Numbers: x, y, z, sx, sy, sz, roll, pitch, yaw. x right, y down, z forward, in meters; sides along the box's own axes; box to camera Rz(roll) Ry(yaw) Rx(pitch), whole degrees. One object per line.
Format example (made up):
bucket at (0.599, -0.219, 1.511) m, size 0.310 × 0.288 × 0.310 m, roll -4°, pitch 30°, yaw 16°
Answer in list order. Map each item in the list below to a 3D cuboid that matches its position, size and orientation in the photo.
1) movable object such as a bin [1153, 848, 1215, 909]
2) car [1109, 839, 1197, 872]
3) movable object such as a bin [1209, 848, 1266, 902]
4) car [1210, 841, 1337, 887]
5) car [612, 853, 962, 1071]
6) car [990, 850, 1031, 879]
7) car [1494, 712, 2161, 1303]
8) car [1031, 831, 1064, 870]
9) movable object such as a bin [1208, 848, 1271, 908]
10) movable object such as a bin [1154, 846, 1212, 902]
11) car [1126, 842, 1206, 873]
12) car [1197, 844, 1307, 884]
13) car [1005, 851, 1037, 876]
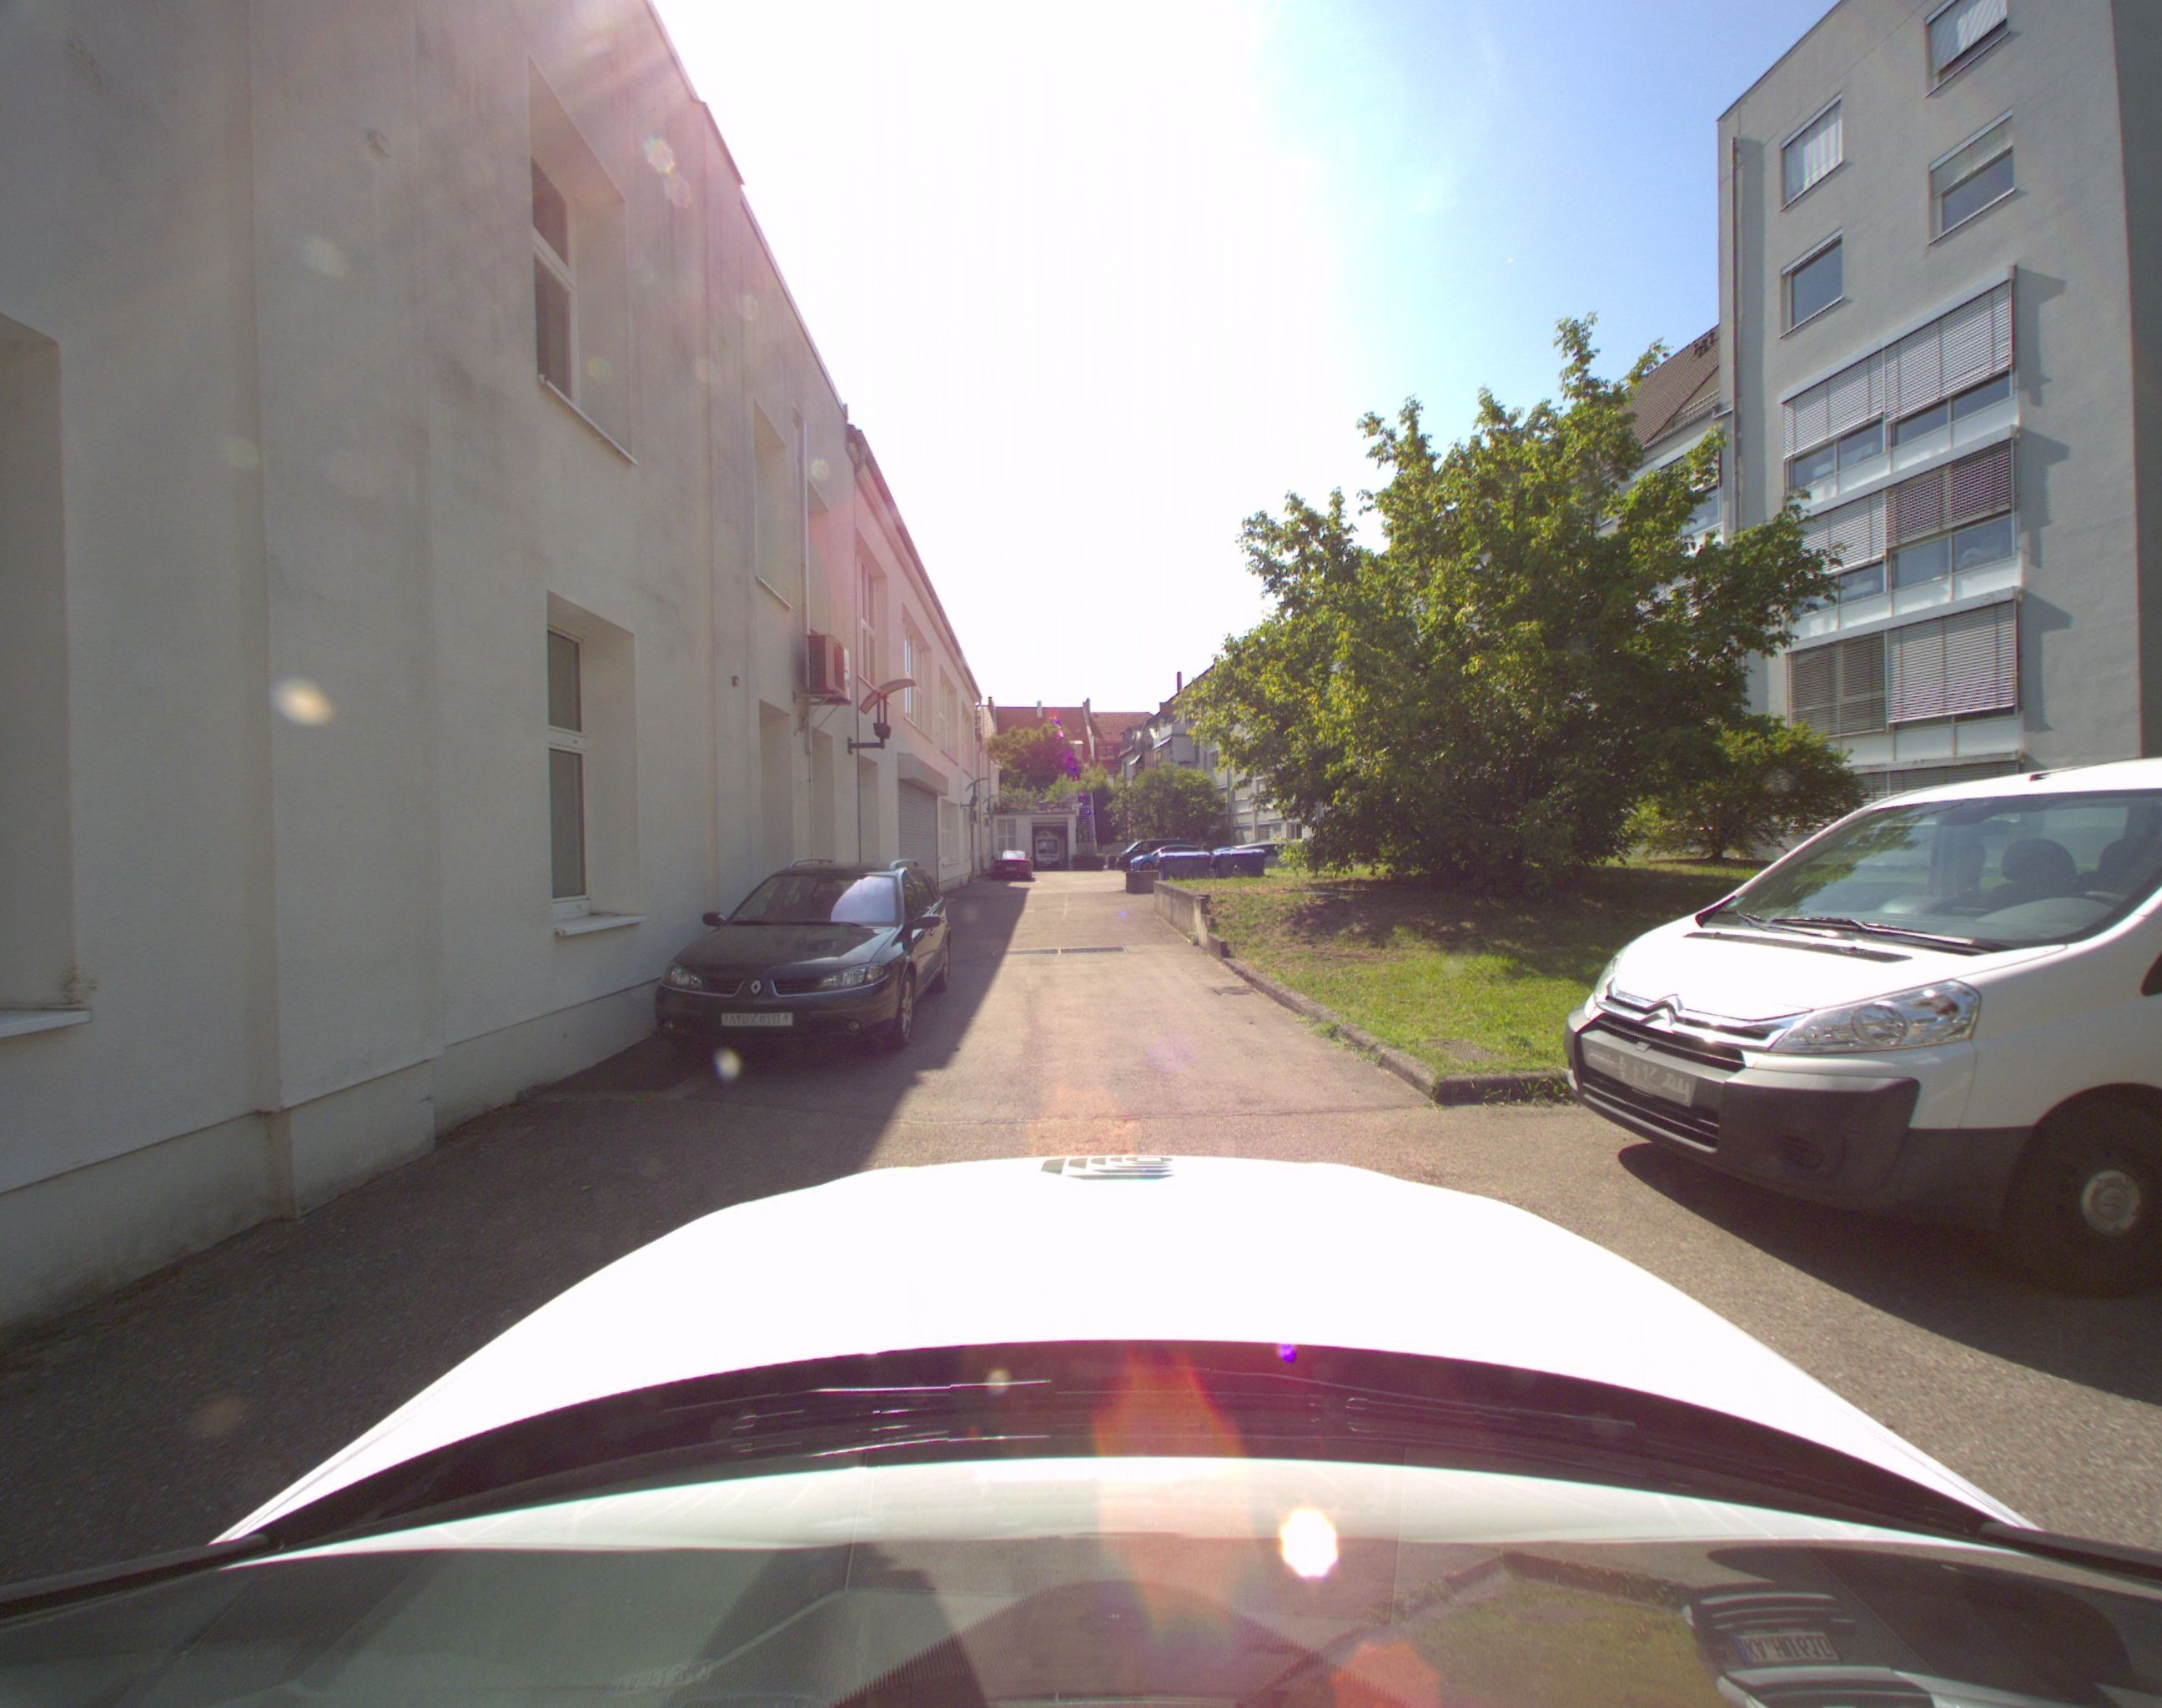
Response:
movable object such as a bin at (2.418, 0.569, 19.267) m, size 1.243 × 1.319 × 1.142 m, roll -3°, pitch -1°, yaw -1°
car at (4.413, 0.065, 49.964) m, size 4.961 × 1.767 × 2.086 m, roll -3°, pitch 1°, yaw -15°
movable object such as a bin at (4.044, 0.523, 21.118) m, size 1.153 × 1.336 × 1.140 m, roll -2°, pitch 0°, yaw -6°
car at (6.732, 0.318, 28.770) m, size 3.981 × 1.427 × 1.808 m, roll -2°, pitch 0°, yaw -6°
car at (-2.280, 0.773, 7.672) m, size 1.832 × 1.442 × 4.424 m, roll 1°, pitch -1°, yaw -3°
car at (-3.349, 0.471, 39.312) m, size 1.848 × 1.319 × 3.996 m, roll 0°, pitch 0°, yaw -3°
car at (4.904, 0.453, 3.761) m, size 5.010 × 1.933 × 1.999 m, roll -1°, pitch 1°, yaw -2°
car at (-2.429, -0.246, 59.190) m, size 2.169 × 2.607 × 6.729 m, roll -2°, pitch 0°, yaw -2°
movable object such as a bin at (3.735, 0.539, 19.264) m, size 1.243 × 1.340 × 1.142 m, roll -2°, pitch 0°, yaw 0°
movable object such as a bin at (2.627, 0.492, 21.040) m, size 1.245 × 1.355 × 1.127 m, roll -2°, pitch 0°, yaw -6°
car at (4.826, 0.191, 46.732) m, size 4.224 × 1.532 × 1.996 m, roll -2°, pitch 1°, yaw -6°
car at (6.723, 0.365, 32.240) m, size 3.978 × 1.394 × 1.687 m, roll -2°, pitch 0°, yaw -3°
car at (-3.373, 0.517, 46.340) m, size 1.610 × 1.295 × 3.756 m, roll -2°, pitch 0°, yaw -2°
